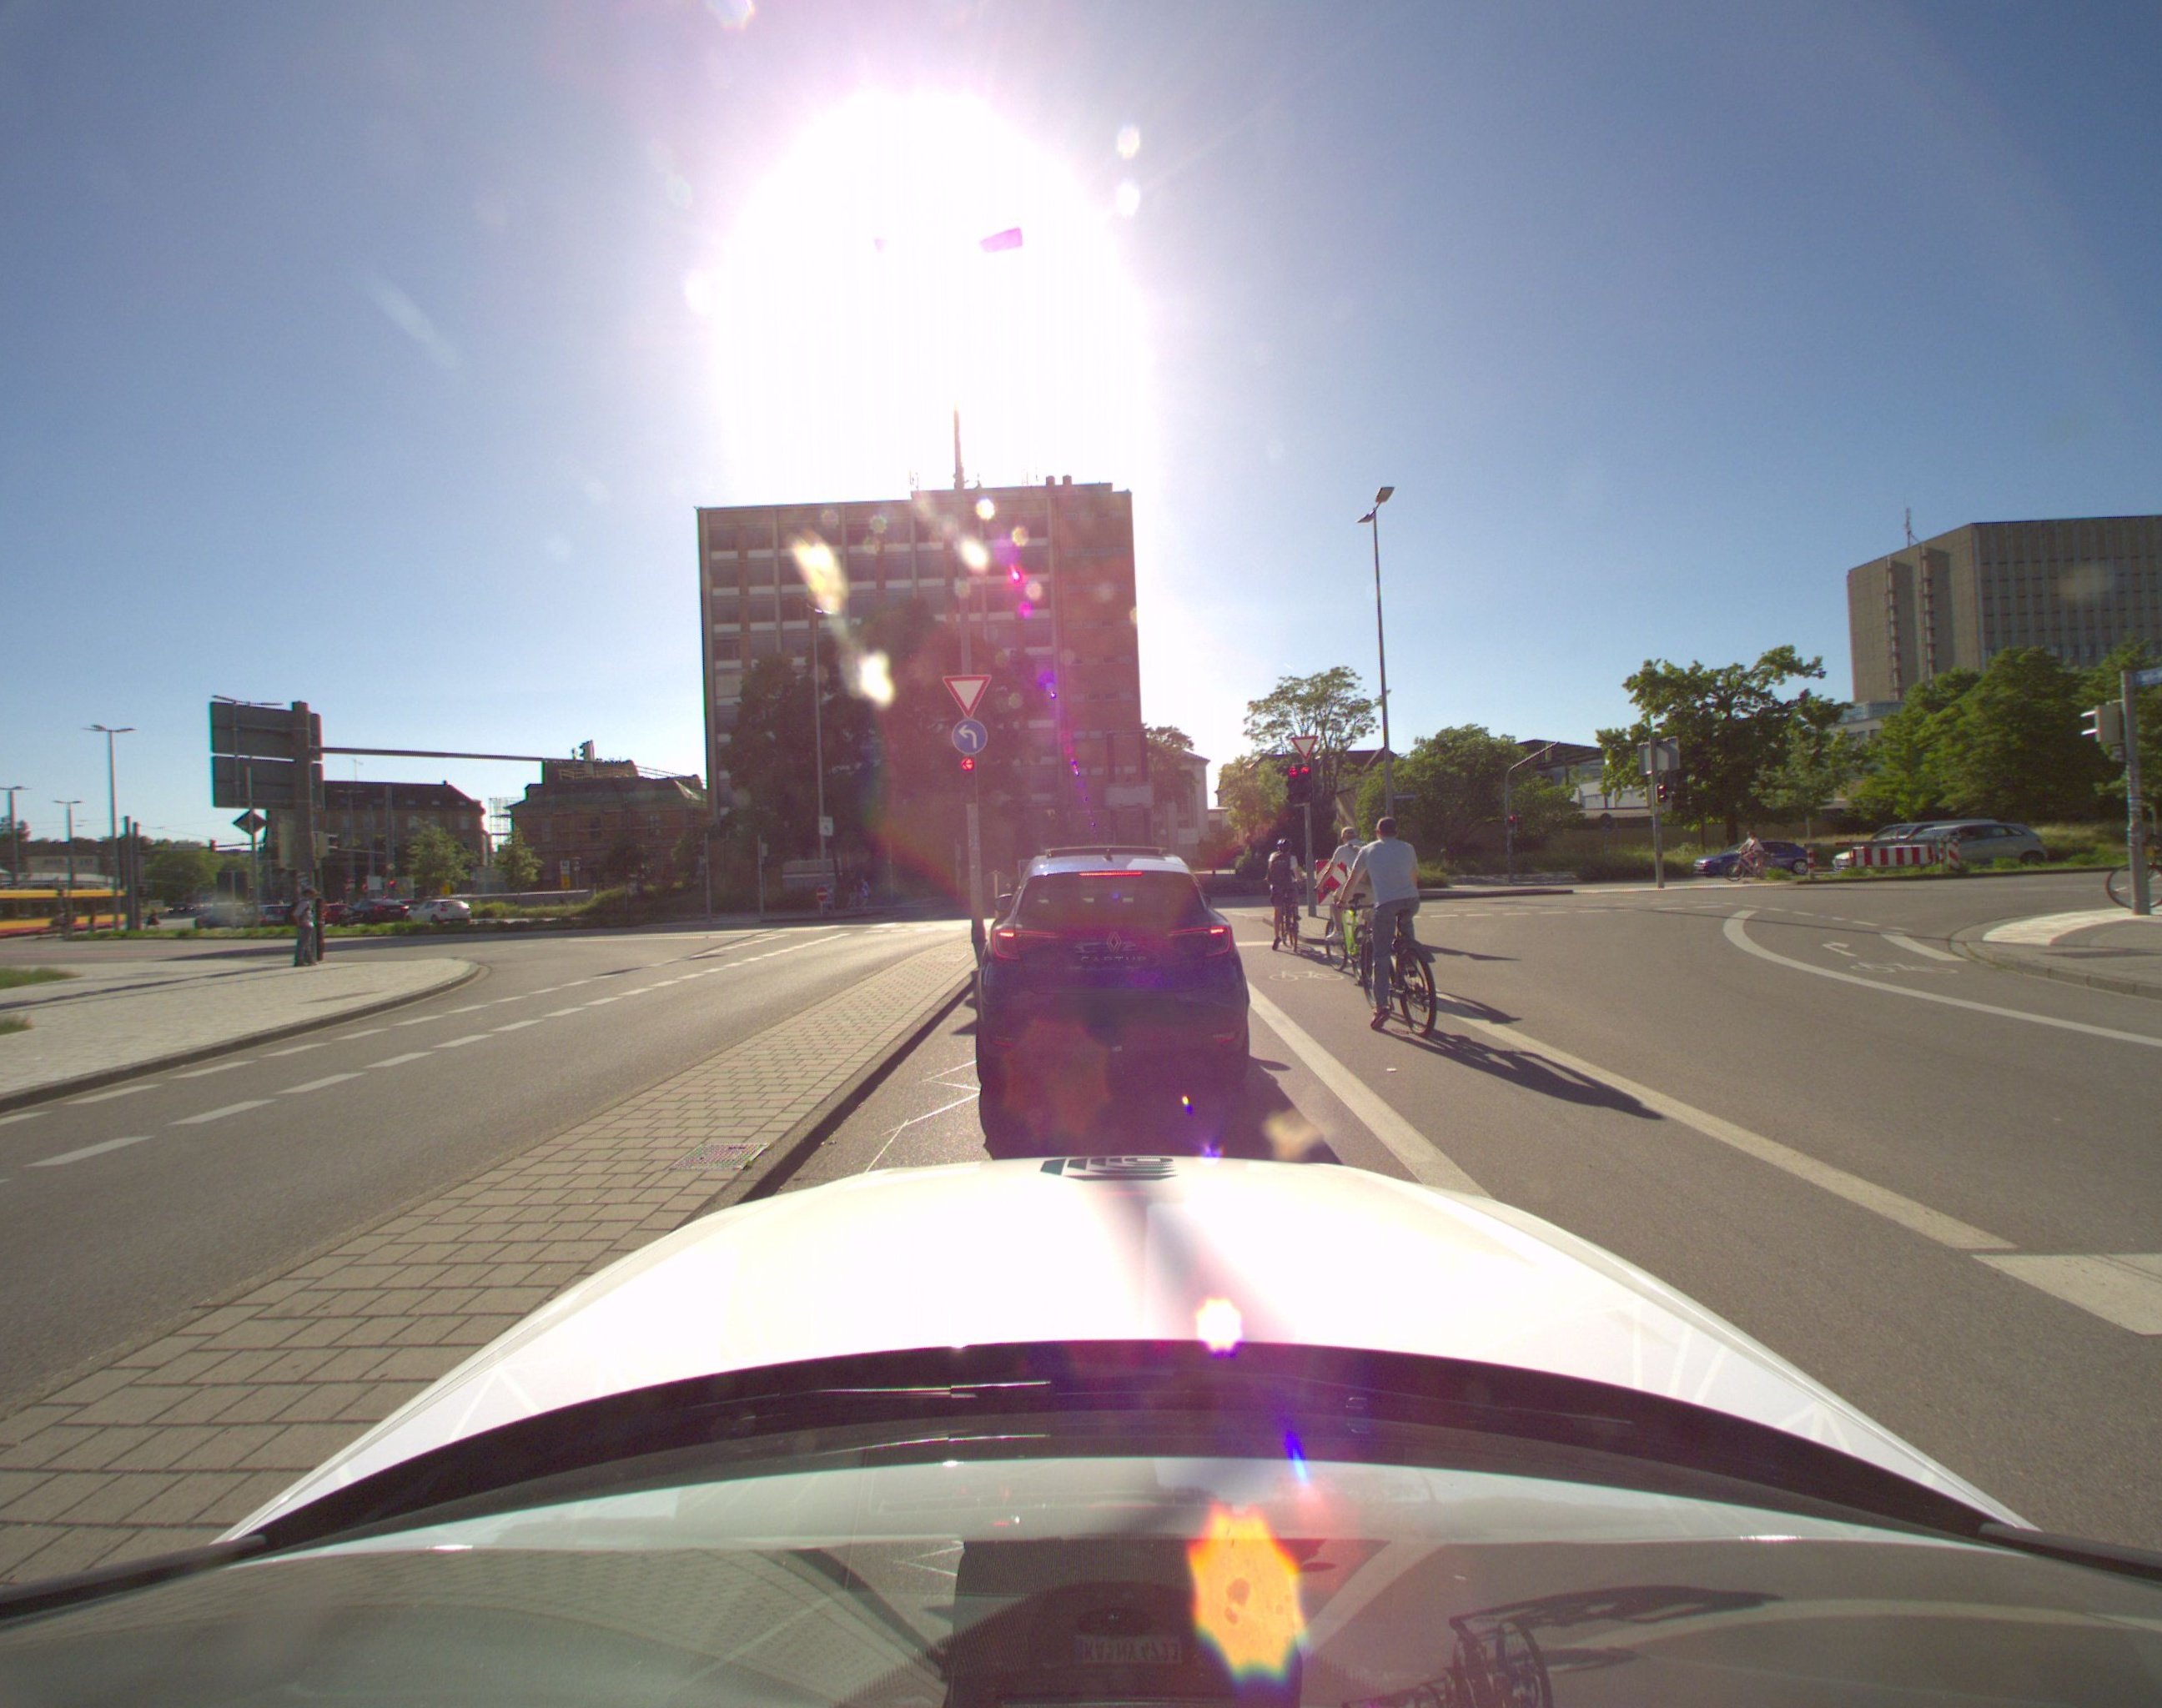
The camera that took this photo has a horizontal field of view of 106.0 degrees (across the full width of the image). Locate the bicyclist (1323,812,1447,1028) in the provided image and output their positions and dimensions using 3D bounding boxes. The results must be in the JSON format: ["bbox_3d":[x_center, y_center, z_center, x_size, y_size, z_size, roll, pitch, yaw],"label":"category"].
[{"bbox_3d":[2.711,0.552,7.376,0.680,1.791,1.142,-1,-1,2],"label":"bicyclist"}]

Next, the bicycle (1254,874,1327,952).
[{"bbox_3d":[3.254,0.878,12.831,0.687,1.089,1.923,-1,0,2],"label":"bicycle"}]

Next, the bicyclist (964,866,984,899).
[{"bbox_3d":[-5.767,1.517,44.071,0.751,1.716,1.001,-2,-1,7],"label":"bicyclist"}]

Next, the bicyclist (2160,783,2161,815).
[{"bbox_3d":[16.024,-0.227,11.473,0.635,1.646,0.903,-2,-1,-39],"label":"bicyclist"}]

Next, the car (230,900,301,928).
[{"bbox_3d":[-48.867,3.600,48.804,3.834,1.508,1.805,-3,-1,25],"label":"car"}]

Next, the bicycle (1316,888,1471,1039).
[{"bbox_3d":[2.722,0.897,7.324,0.687,1.089,1.923,-1,0,2],"label":"bicycle"}]

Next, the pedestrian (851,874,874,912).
[{"bbox_3d":[-10.218,1.812,38.035,0.675,1.730,0.764,-3,-1,15],"label":"pedestrian"}]

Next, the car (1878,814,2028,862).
[{"bbox_3d":[35.868,-0.619,33.607,3.965,1.749,1.798,-2,-1,7],"label":"car"}]

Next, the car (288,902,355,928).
[{"bbox_3d":[-48.210,3.866,51.708,3.834,1.508,1.805,-3,-1,25],"label":"car"}]

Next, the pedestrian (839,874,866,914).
[{"bbox_3d":[-10.871,1.893,38.730,0.807,1.862,0.913,-3,-1,15],"label":"pedestrian"}]

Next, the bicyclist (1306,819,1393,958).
[{"bbox_3d":[3.244,0.400,9.938,0.676,1.594,1.142,-1,-1,1],"label":"bicyclist"}]

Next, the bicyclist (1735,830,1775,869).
[{"bbox_3d":[24.033,-0.161,29.051,0.870,1.343,0.612,-2,-1,7],"label":"bicyclist"}]

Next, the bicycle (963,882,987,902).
[{"bbox_3d":[-5.730,2.041,44.171,0.751,0.985,2.098,-2,0,8],"label":"bicycle"}]

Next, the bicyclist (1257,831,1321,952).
[{"bbox_3d":[3.227,0.557,12.706,0.697,1.791,1.142,-1,-1,2],"label":"bicyclist"}]

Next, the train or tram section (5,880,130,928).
[{"bbox_3d":[-79.133,3.743,63.912,2.710,3.232,10.495,0,-1,-31],"label":"train or tram section"}]

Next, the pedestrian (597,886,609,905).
[{"bbox_3d":[-43.932,3.792,74.851,0.680,1.730,0.759,-2,-1,-7],"label":"pedestrian"}]

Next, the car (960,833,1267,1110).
[{"bbox_3d":[0.195,0.702,6.766,1.783,1.585,3.913,-1,0,0],"label":"car"}]

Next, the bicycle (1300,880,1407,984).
[{"bbox_3d":[3.257,0.888,9.917,0.687,1.089,1.923,-1,0,2],"label":"bicycle"}]

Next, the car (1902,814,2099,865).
[{"bbox_3d":[29.218,-0.435,26.001,3.965,1.398,1.798,-3,-1,7],"label":"car"}]

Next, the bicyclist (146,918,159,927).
[{"bbox_3d":[-63.948,4.735,56.063,0.425,0.549,0.575,-3,-1,42],"label":"bicyclist"}]

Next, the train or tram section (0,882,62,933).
[{"bbox_3d":[-73.678,3.631,54.935,2.710,3.232,10.495,0,-1,-31],"label":"train or tram section"}]

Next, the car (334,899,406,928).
[{"bbox_3d":[-42.554,3.560,48.739,3.834,1.508,1.805,-3,-1,25],"label":"car"}]

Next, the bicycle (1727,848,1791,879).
[{"bbox_3d":[24.154,0.335,29.033,1.673,1.033,0.612,-2,-1,7],"label":"bicycle"}]

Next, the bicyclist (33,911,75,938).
[{"bbox_3d":[-66.233,4.548,52.548,0.800,1.634,1.585,-1,-1,45],"label":"bicyclist"}]

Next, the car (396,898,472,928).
[{"bbox_3d":[-36.398,3.333,45.835,3.834,1.508,1.805,-3,-1,25],"label":"car"}]

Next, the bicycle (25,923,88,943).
[{"bbox_3d":[-66.146,5.083,52.600,0.800,1.062,2.433,-1,-1,45],"label":"bicycle"}]

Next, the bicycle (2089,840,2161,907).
[{"bbox_3d":[15.912,0.266,11.626,0.640,0.958,1.866,-2,-1,-39],"label":"bicycle"}]

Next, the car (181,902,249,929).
[{"bbox_3d":[-54.916,3.888,51.636,3.834,1.508,1.805,-3,-1,25],"label":"car"}]

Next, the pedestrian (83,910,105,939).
[{"bbox_3d":[-62.919,4.497,51.911,0.781,1.762,0.697,-2,-1,-41],"label":"pedestrian"}]

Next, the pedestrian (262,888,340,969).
[{"bbox_3d":[-17.773,1.676,18.579,0.647,1.730,1.066,-3,-1,15],"label":"pedestrian"}]

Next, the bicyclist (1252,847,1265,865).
[{"bbox_3d":[15.345,0.161,70.394,0.698,1.481,0.711,-2,-1,-27],"label":"bicyclist"}]

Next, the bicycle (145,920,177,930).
[{"bbox_3d":[-63.658,4.923,56.367,0.429,0.549,1.419,-3,-1,42],"label":"bicycle"}]

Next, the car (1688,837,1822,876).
[{"bbox_3d":[28.132,0.104,34.106,3.965,1.398,1.798,-3,-1,7],"label":"car"}]

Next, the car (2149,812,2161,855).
[{"bbox_3d":[36.899,-0.764,25.331,4.534,1.398,1.798,-3,-1,7],"label":"car"}]

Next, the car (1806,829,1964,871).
[{"bbox_3d":[30.294,-0.137,30.793,3.965,1.398,1.798,-3,-1,7],"label":"car"}]

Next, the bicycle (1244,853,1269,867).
[{"bbox_3d":[15.198,0.537,70.714,0.698,1.140,2.420,-2,-1,-26],"label":"bicycle"}]
